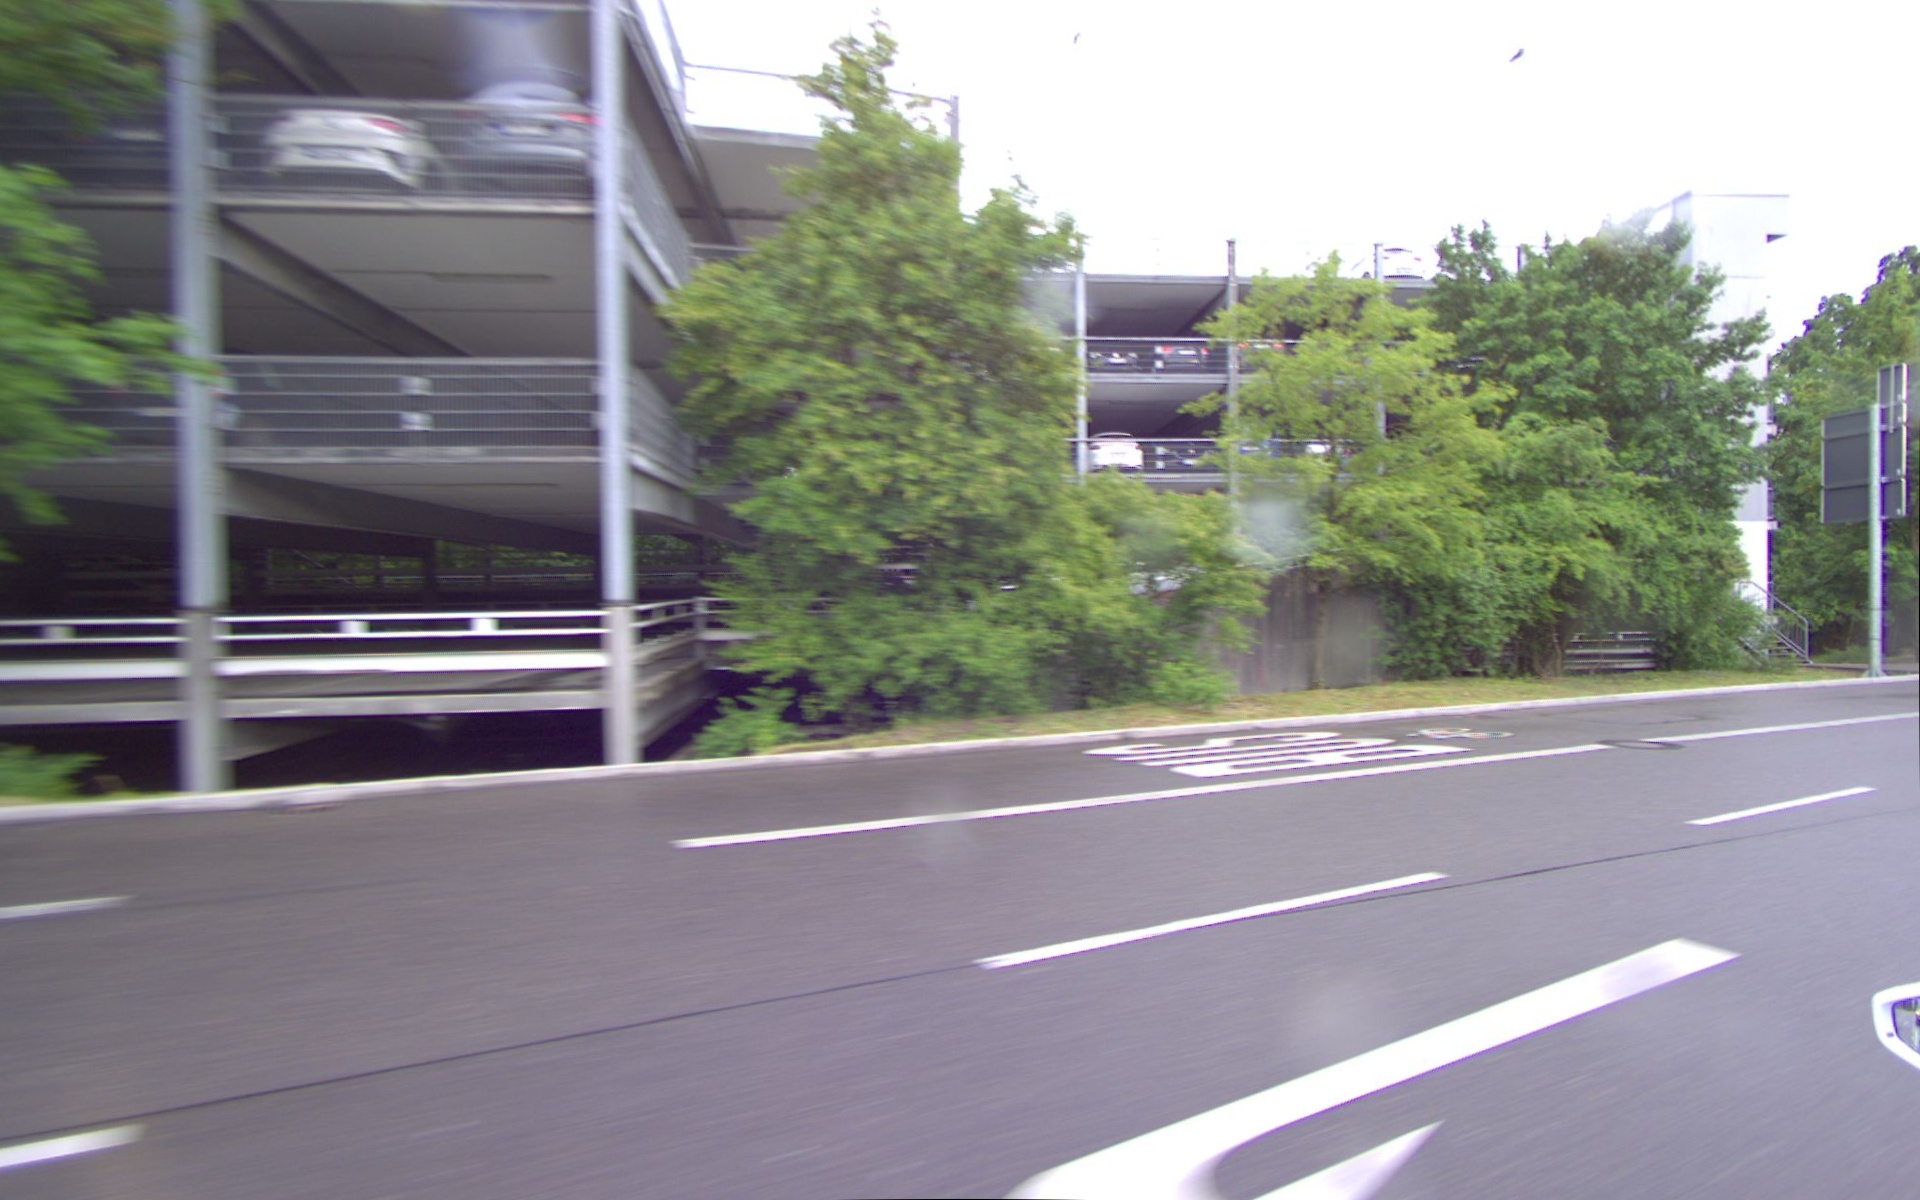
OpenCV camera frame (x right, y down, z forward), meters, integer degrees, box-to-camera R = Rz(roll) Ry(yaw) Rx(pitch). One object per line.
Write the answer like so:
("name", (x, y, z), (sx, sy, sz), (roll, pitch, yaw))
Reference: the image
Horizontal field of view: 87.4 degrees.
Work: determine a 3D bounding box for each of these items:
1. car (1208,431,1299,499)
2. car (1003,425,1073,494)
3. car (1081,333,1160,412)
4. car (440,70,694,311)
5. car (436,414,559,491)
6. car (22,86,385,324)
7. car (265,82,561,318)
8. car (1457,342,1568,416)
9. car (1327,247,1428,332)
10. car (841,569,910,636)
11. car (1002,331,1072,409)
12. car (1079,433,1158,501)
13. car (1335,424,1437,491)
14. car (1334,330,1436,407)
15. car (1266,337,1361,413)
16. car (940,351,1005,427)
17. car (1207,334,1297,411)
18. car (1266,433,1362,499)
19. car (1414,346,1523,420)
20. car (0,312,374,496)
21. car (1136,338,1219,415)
("car", (9.141, -4.169, 31.483), (1.557, 1.539, 3.241), (0, -2, -8))
("car", (2.381, -4.315, 31.304), (1.557, 1.539, 3.241), (0, -2, -8))
("car", (4.924, -6.987, 31.120), (1.557, 1.539, 3.241), (0, -2, -8))
("car", (-5.131, -5.379, 13.787), (1.961, 1.539, 4.000), (0, -2, -1))
("car", (-13.574, -4.283, 29.730), (1.962, 1.539, 3.999), (0, -2, -4))
("car", (-9.968, -5.159, 13.729), (1.961, 1.539, 4.000), (0, -2, -1))
("car", (-7.285, -5.314, 13.933), (1.961, 1.539, 4.000), (0, -2, -1))
("car", (17.904, -7.143, 32.717), (1.557, 1.539, 3.241), (0, -2, -8))
("car", (13.263, -9.837, 32.087), (1.557, 1.539, 3.241), (0, -2, -8))
("car", (-2.163, 0.087, 25.175), (1.557, 1.539, 3.470), (0, -1, -8))
("car", (2.353, -7.104, 31.350), (1.557, 1.539, 3.241), (0, -2, -8))
("car", (4.854, -4.062, 31.129), (1.557, 1.539, 3.241), (0, -2, -8))
("car", (13.451, -4.476, 31.903), (1.557, 1.539, 3.241), (0, -2, -8))
("car", (13.447, -7.295, 31.964), (1.557, 1.539, 3.241), (0, -2, -8))
("car", (11.141, -7.063, 31.845), (1.557, 1.539, 3.241), (0, -2, -8))
("car", (0.337, -6.464, 31.074), (1.557, 1.539, 3.241), (0, -2, -8))
("car", (9.120, -7.104, 31.654), (1.557, 1.539, 3.241), (0, -2, -8))
("car", (11.125, -4.183, 31.794), (1.557, 1.539, 3.241), (0, -2, -8))
("car", (16.327, -6.928, 32.407), (1.557, 1.539, 3.241), (0, -2, -8))
("car", (-9.991, -2.443, 13.472), (1.961, 1.539, 4.000), (0, -2, -1))
("car", (6.798, -6.997, 31.707), (1.557, 1.539, 3.241), (0, -2, -8))
